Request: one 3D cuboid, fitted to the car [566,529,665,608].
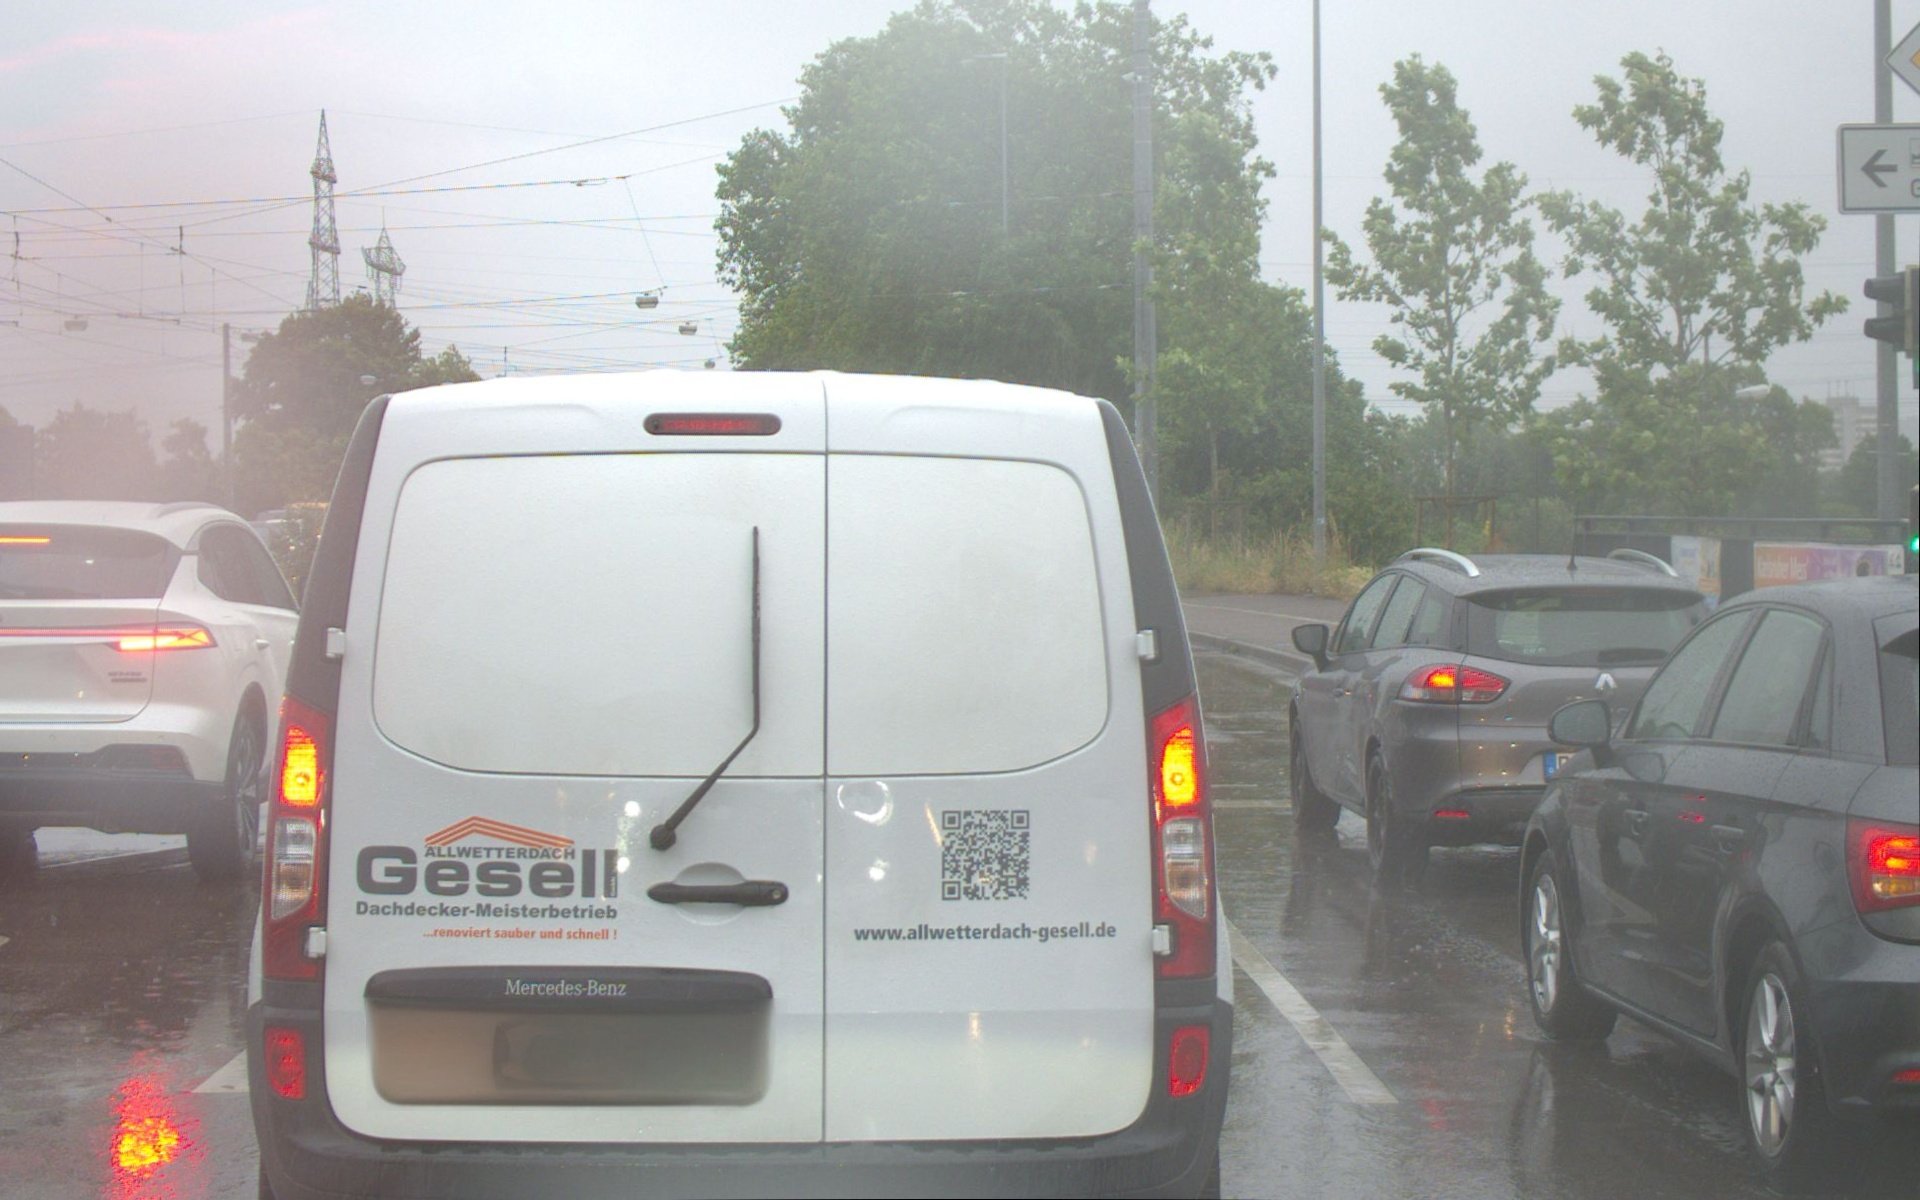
[{"bbox_3d":[-8.361,-0.745,83.759,1.993,1.853,4.000,1,0,0],"label":"car"}]

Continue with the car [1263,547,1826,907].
[{"bbox_3d":[2.575,0.496,16.056,1.859,1.424,3.808,1,1,-2],"label":"car"}]

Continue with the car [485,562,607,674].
[{"bbox_3d":[-7.149,0.277,59.393,1.993,1.853,4.001,1,1,-7],"label":"car"}]

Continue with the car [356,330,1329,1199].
[{"bbox_3d":[-0.211,0.433,7.555,1.566,1.782,4.000,0,1,-1],"label":"car"}]

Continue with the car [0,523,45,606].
[{"bbox_3d":[-21.891,-0.797,76.144,1.929,1.820,3.999,1,1,4],"label":"car"}]

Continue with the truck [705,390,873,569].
[{"bbox_3d":[-2.915,-1.944,57.961,2.632,2.806,7.146,0,1,-3],"label":"truck"}]

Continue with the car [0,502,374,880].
[{"bbox_3d":[-3.935,0.314,16.176,1.728,1.530,4.298,1,1,-2],"label":"car"}]

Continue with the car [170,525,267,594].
[{"bbox_3d":[-22.388,-1.229,103.904,1.993,2.007,4.000,1,1,1],"label":"car"}]

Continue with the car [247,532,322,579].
[{"bbox_3d":[-22.864,-1.489,116.476,1.763,1.544,3.680,1,1,1],"label":"car"}]

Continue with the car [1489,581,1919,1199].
[{"bbox_3d":[2.526,0.643,8.932,1.629,1.340,3.624,1,1,-2],"label":"car"}]
